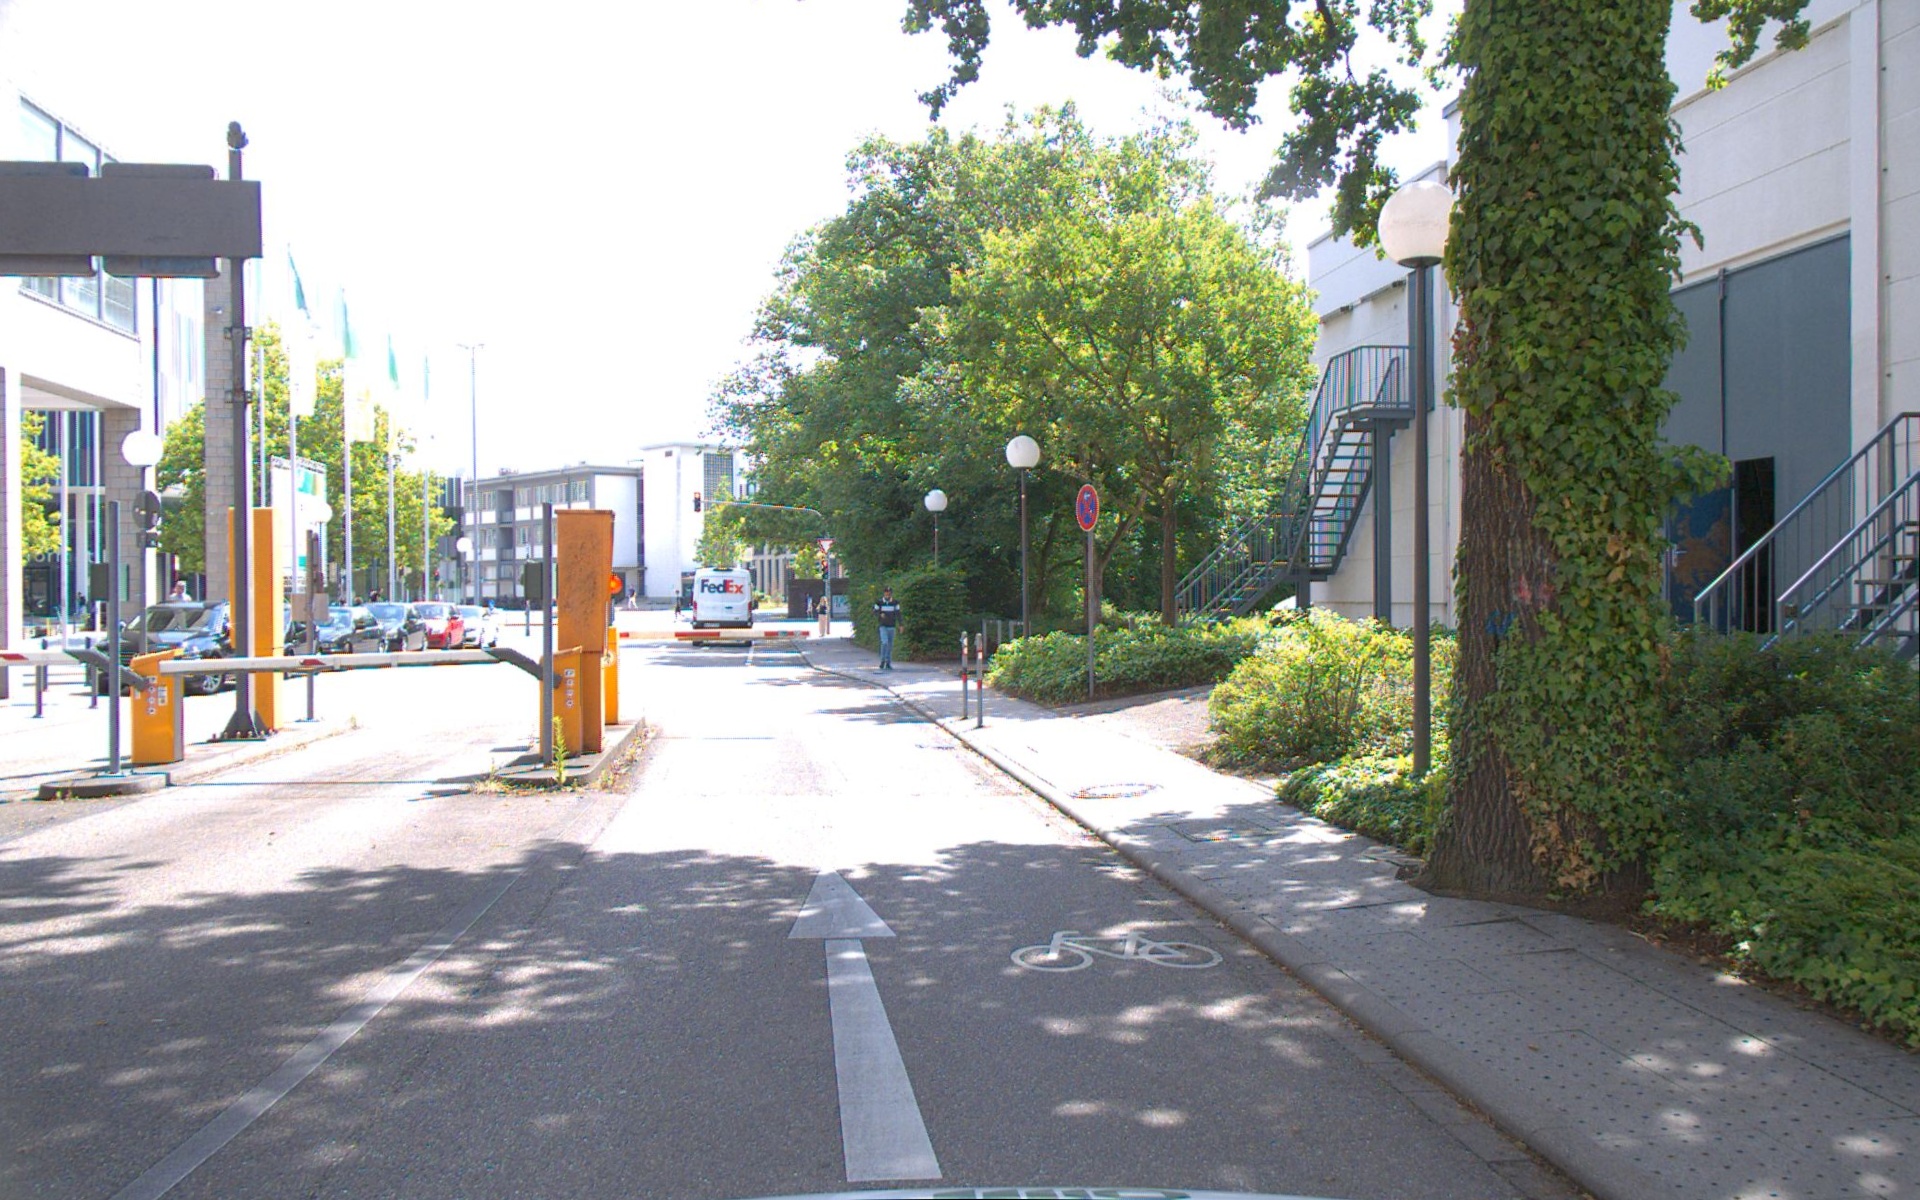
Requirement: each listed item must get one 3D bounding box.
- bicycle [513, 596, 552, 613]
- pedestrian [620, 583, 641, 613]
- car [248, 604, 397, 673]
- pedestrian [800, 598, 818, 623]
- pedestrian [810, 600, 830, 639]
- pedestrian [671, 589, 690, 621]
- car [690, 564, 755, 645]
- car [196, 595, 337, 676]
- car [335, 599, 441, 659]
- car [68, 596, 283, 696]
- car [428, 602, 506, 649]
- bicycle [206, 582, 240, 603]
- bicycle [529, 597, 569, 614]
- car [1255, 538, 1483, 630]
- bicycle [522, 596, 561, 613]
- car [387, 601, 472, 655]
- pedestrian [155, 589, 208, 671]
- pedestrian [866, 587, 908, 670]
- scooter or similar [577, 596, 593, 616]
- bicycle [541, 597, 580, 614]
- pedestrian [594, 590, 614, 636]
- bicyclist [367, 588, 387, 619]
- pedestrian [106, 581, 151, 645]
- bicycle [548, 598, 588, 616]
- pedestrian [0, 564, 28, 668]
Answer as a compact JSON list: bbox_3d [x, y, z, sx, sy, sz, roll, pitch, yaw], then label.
[{"bbox_3d":[-35.101,0.387,135.733,2.944,1.387,1.099,1,0,-45],"label":"bicycle"},{"bbox_3d":[-22.994,-0.142,115.495,1.116,2.049,1.157,0,0,7],"label":"pedestrian"},{"bbox_3d":[-14.351,0.821,37.531,1.823,1.402,5.010,2,0,-5],"label":"car"},{"bbox_3d":[-9.128,0.625,100.076,0.815,1.550,0.808,0,0,-26],"label":"pedestrian"},{"bbox_3d":[-5.745,0.790,67.828,0.718,1.603,0.773,1,0,-12],"label":"pedestrian"},{"bbox_3d":[-16.693,0.305,98.898,1.061,1.903,0.831,-1,0,-9],"label":"pedestrian"},{"bbox_3d":[-8.093,0.125,56.561,2.056,2.611,5.592,-1,0,-8],"label":"car"},{"bbox_3d":[-13.750,0.671,32.993,1.607,1.493,3.701,2,0,-7],"label":"car"},{"bbox_3d":[-15.409,0.760,44.734,1.714,1.493,4.191,2,0,-5],"label":"car"},{"bbox_3d":[-13.002,0.702,27.744,1.824,1.493,4.711,2,0,-7],"label":"car"},{"bbox_3d":[-16.371,0.818,55.131,1.644,1.420,4.656,2,0,-6],"label":"car"},{"bbox_3d":[-46.154,-0.479,103.561,1.363,1.259,2.913,1,0,-37],"label":"bicycle"},{"bbox_3d":[-33.210,0.432,133.785,2.943,1.387,1.255,1,0,-45],"label":"bicycle"},{"bbox_3d":[9.471,-0.370,38.473,4.733,2.049,2.059,-1,0,-7],"label":"car"},{"bbox_3d":[-34.087,0.396,134.693,2.944,1.387,1.099,1,0,-45],"label":"bicycle"},{"bbox_3d":[-16.036,0.817,50.144,1.644,1.493,3.905,2,0,-6],"label":"car"},{"bbox_3d":[-19.876,0.759,42.235,0.966,2.049,1.162,0,0,-11],"label":"pedestrian"},{"bbox_3d":[-1.526,0.575,34.526,0.726,1.704,1.253,0,0,-10],"label":"pedestrian"},{"bbox_3d":[-22.740,0.331,100.220,0.705,1.199,2.712,0,0,-17],"label":"scooter or similar"},{"bbox_3d":[-32.038,0.436,132.665,2.944,1.387,1.099,1,0,-45],"label":"bicycle"},{"bbox_3d":[-14.666,0.547,68.191,0.705,1.892,0.769,0,0,-6],"label":"pedestrian"},{"bbox_3d":[-34.438,0.200,97.754,0.773,1.849,0.999,0,0,3],"label":"bicyclist"},{"bbox_3d":[-24.995,0.376,49.749,0.704,1.883,1.089,1,0,5],"label":"pedestrian"},{"bbox_3d":[-31.185,0.547,131.668,2.944,1.387,1.099,1,0,-45],"label":"bicycle"},{"bbox_3d":[-22.879,0.373,39.626,0.745,2.464,0.735,0,0,37],"label":"pedestrian"}]
